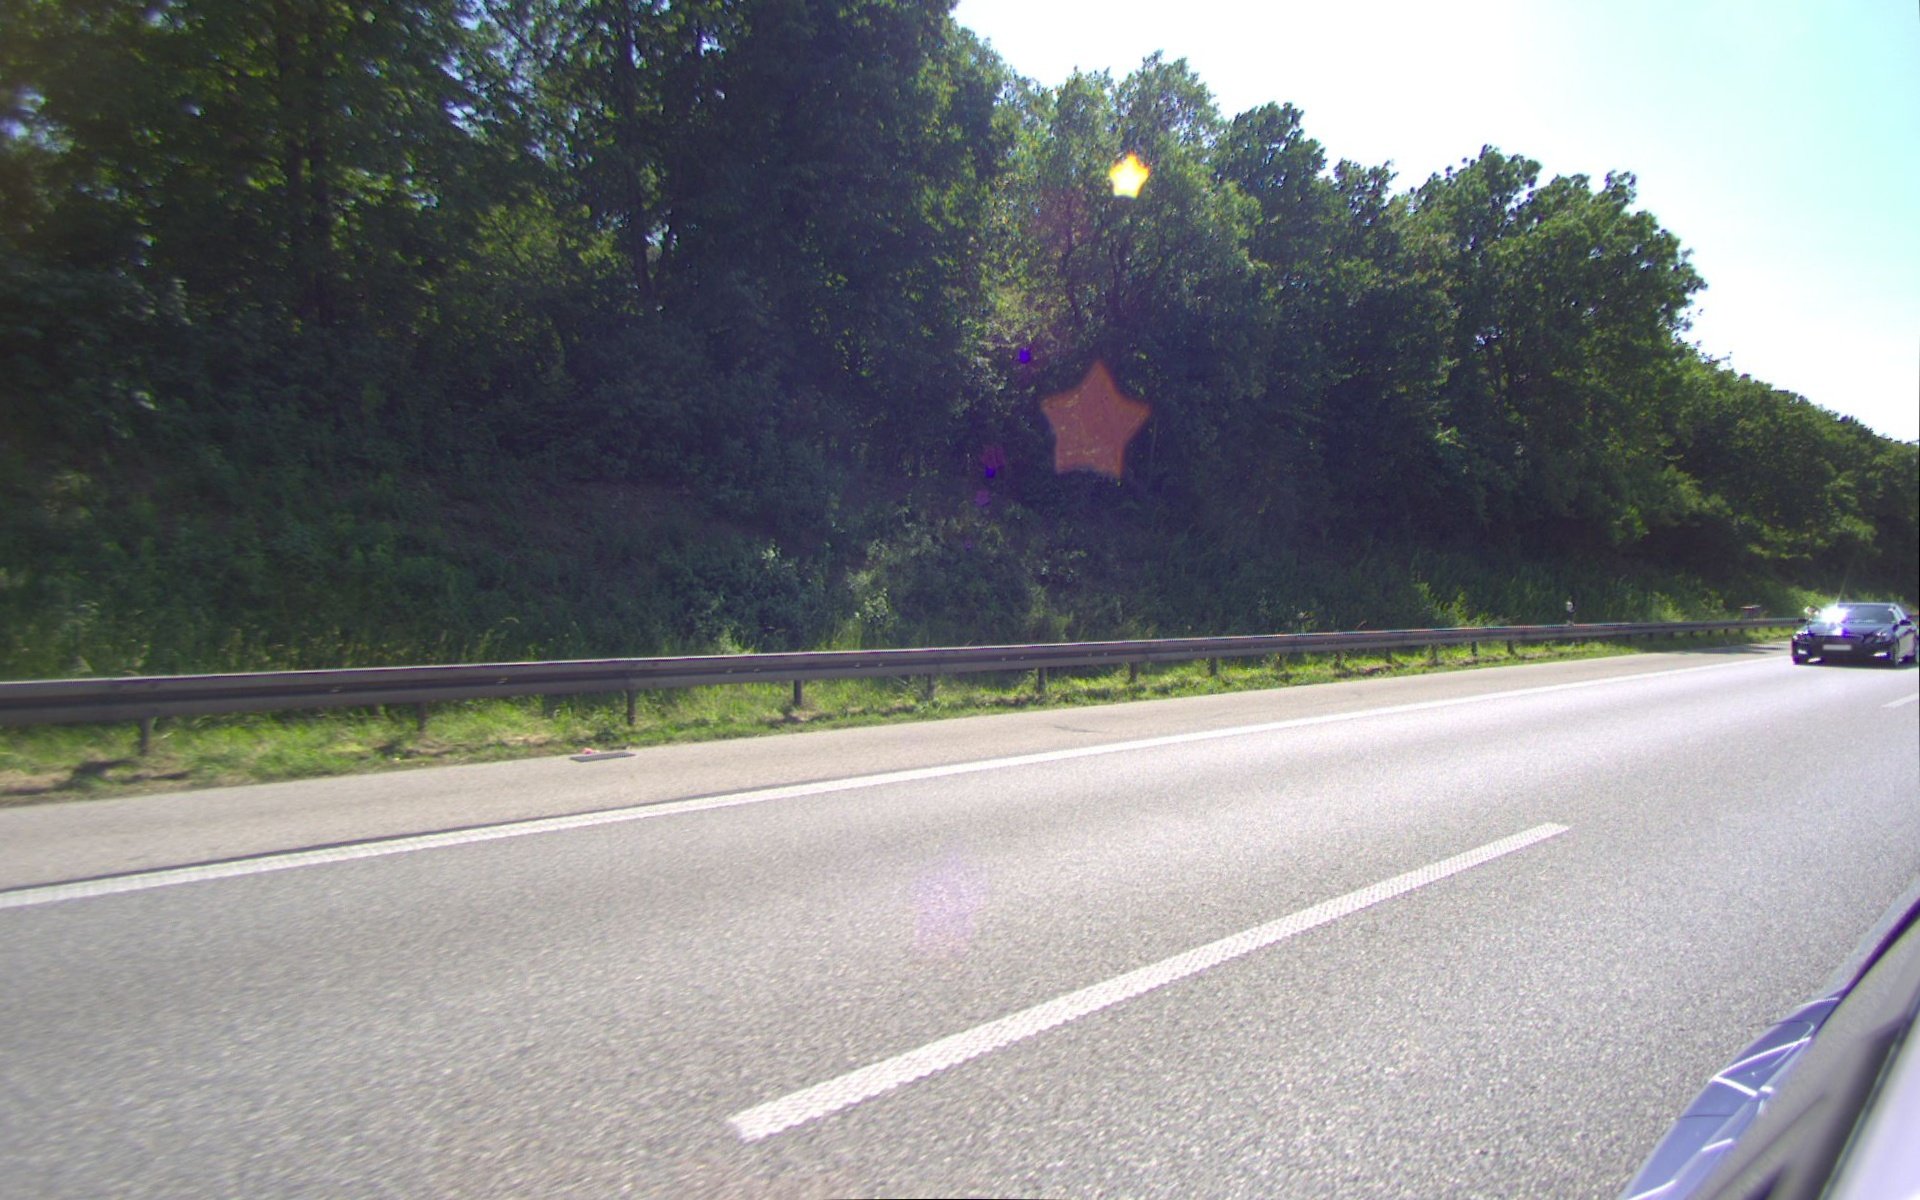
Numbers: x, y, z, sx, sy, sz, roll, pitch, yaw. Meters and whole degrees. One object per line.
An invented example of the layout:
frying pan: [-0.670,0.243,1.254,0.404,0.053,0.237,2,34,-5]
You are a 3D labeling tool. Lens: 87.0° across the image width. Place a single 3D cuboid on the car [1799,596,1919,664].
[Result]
car: [21.422,0.630,23.830,4.065,1.415,1.915,0,2,-41]
